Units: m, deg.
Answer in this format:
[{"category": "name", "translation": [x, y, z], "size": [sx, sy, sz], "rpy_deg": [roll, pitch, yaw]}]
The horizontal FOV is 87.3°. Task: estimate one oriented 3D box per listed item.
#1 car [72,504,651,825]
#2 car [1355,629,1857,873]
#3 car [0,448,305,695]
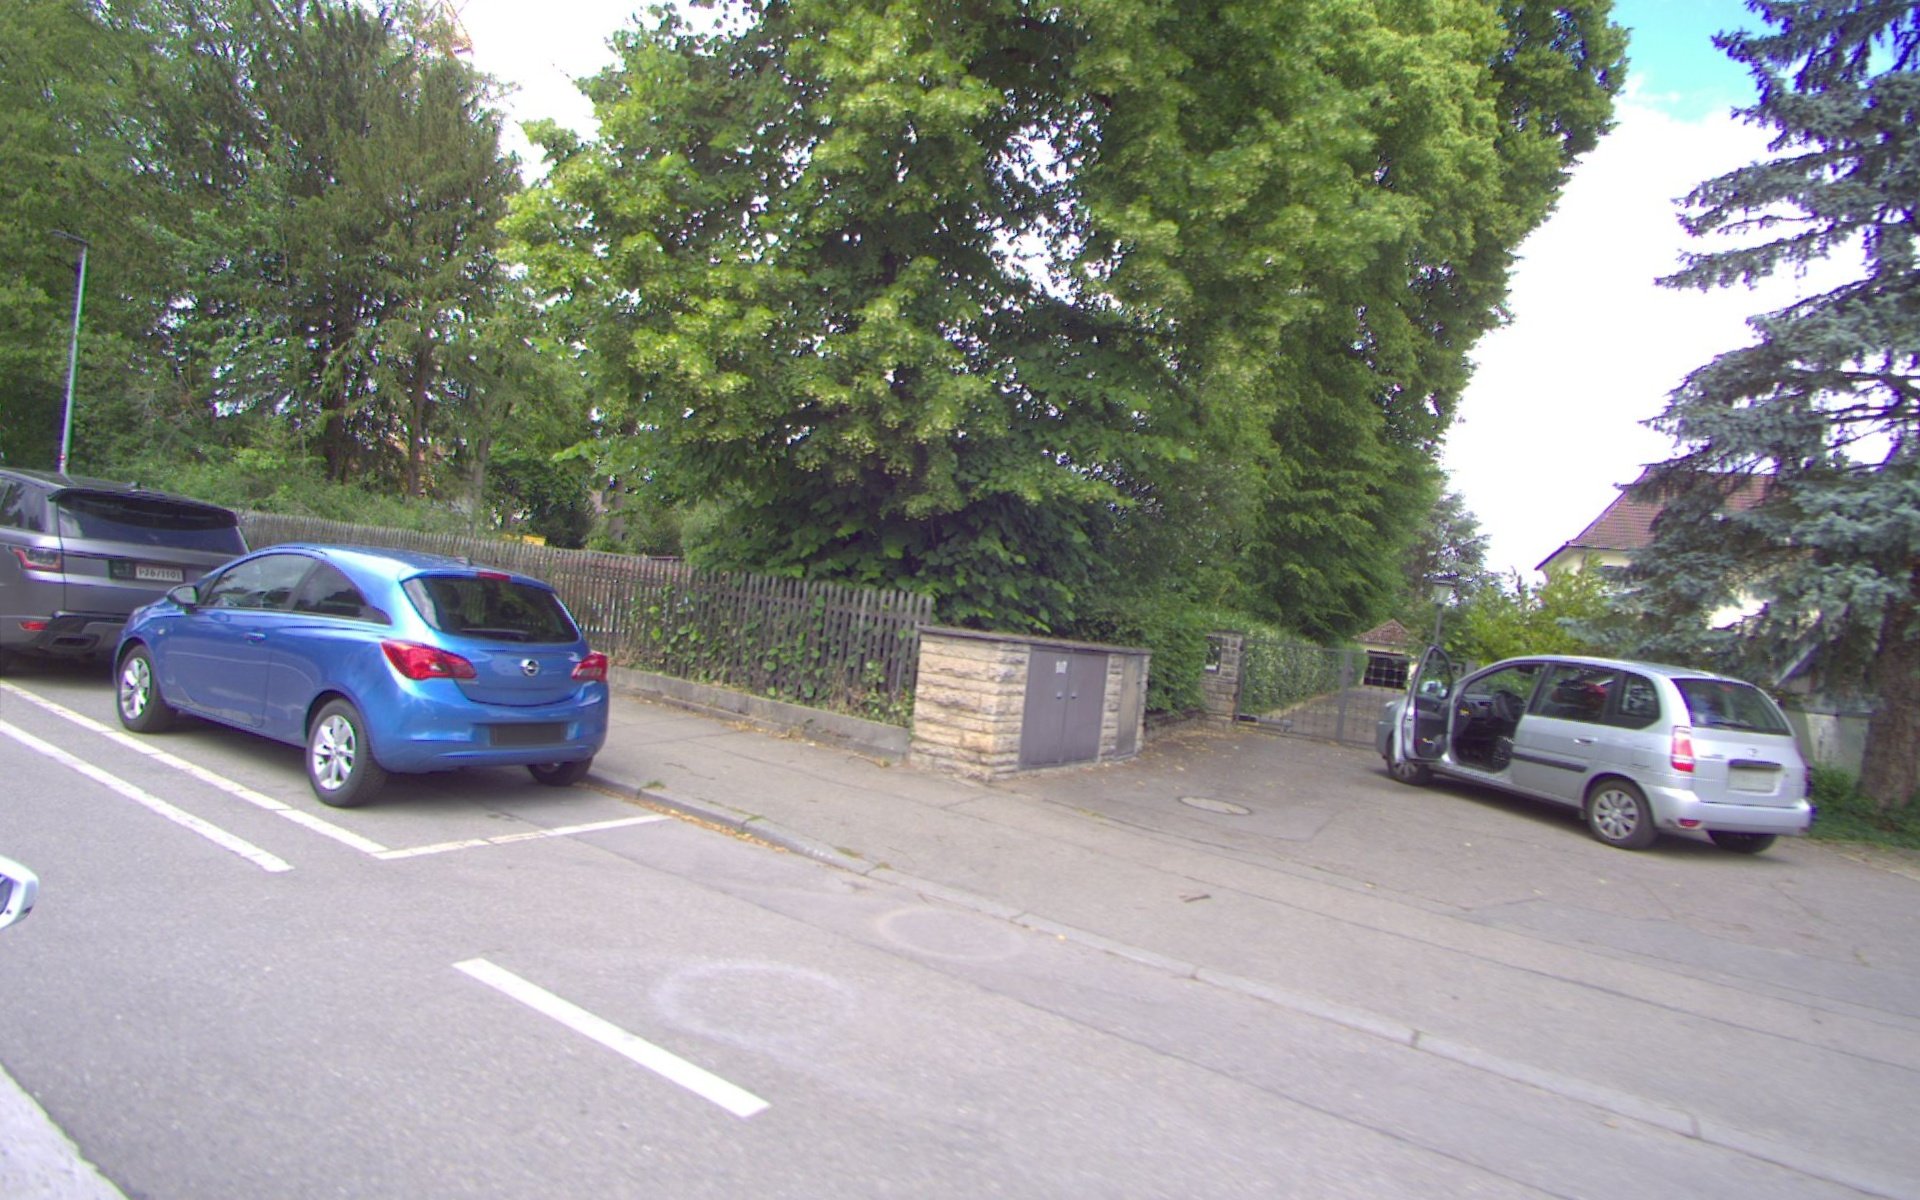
[{"category": "car", "translation": [-4.250, 0.318, 7.041], "size": [3.854, 1.519, 1.688], "rpy_deg": [7, -1, 30]}, {"category": "car", "translation": [6.199, 1.350, 10.302], "size": [1.789, 1.681, 3.985], "rpy_deg": [7, 0, -17]}, {"category": "car", "translation": [-8.643, -0.355, 9.653], "size": [4.747, 1.837, 1.997], "rpy_deg": [6, -1, 32]}]
